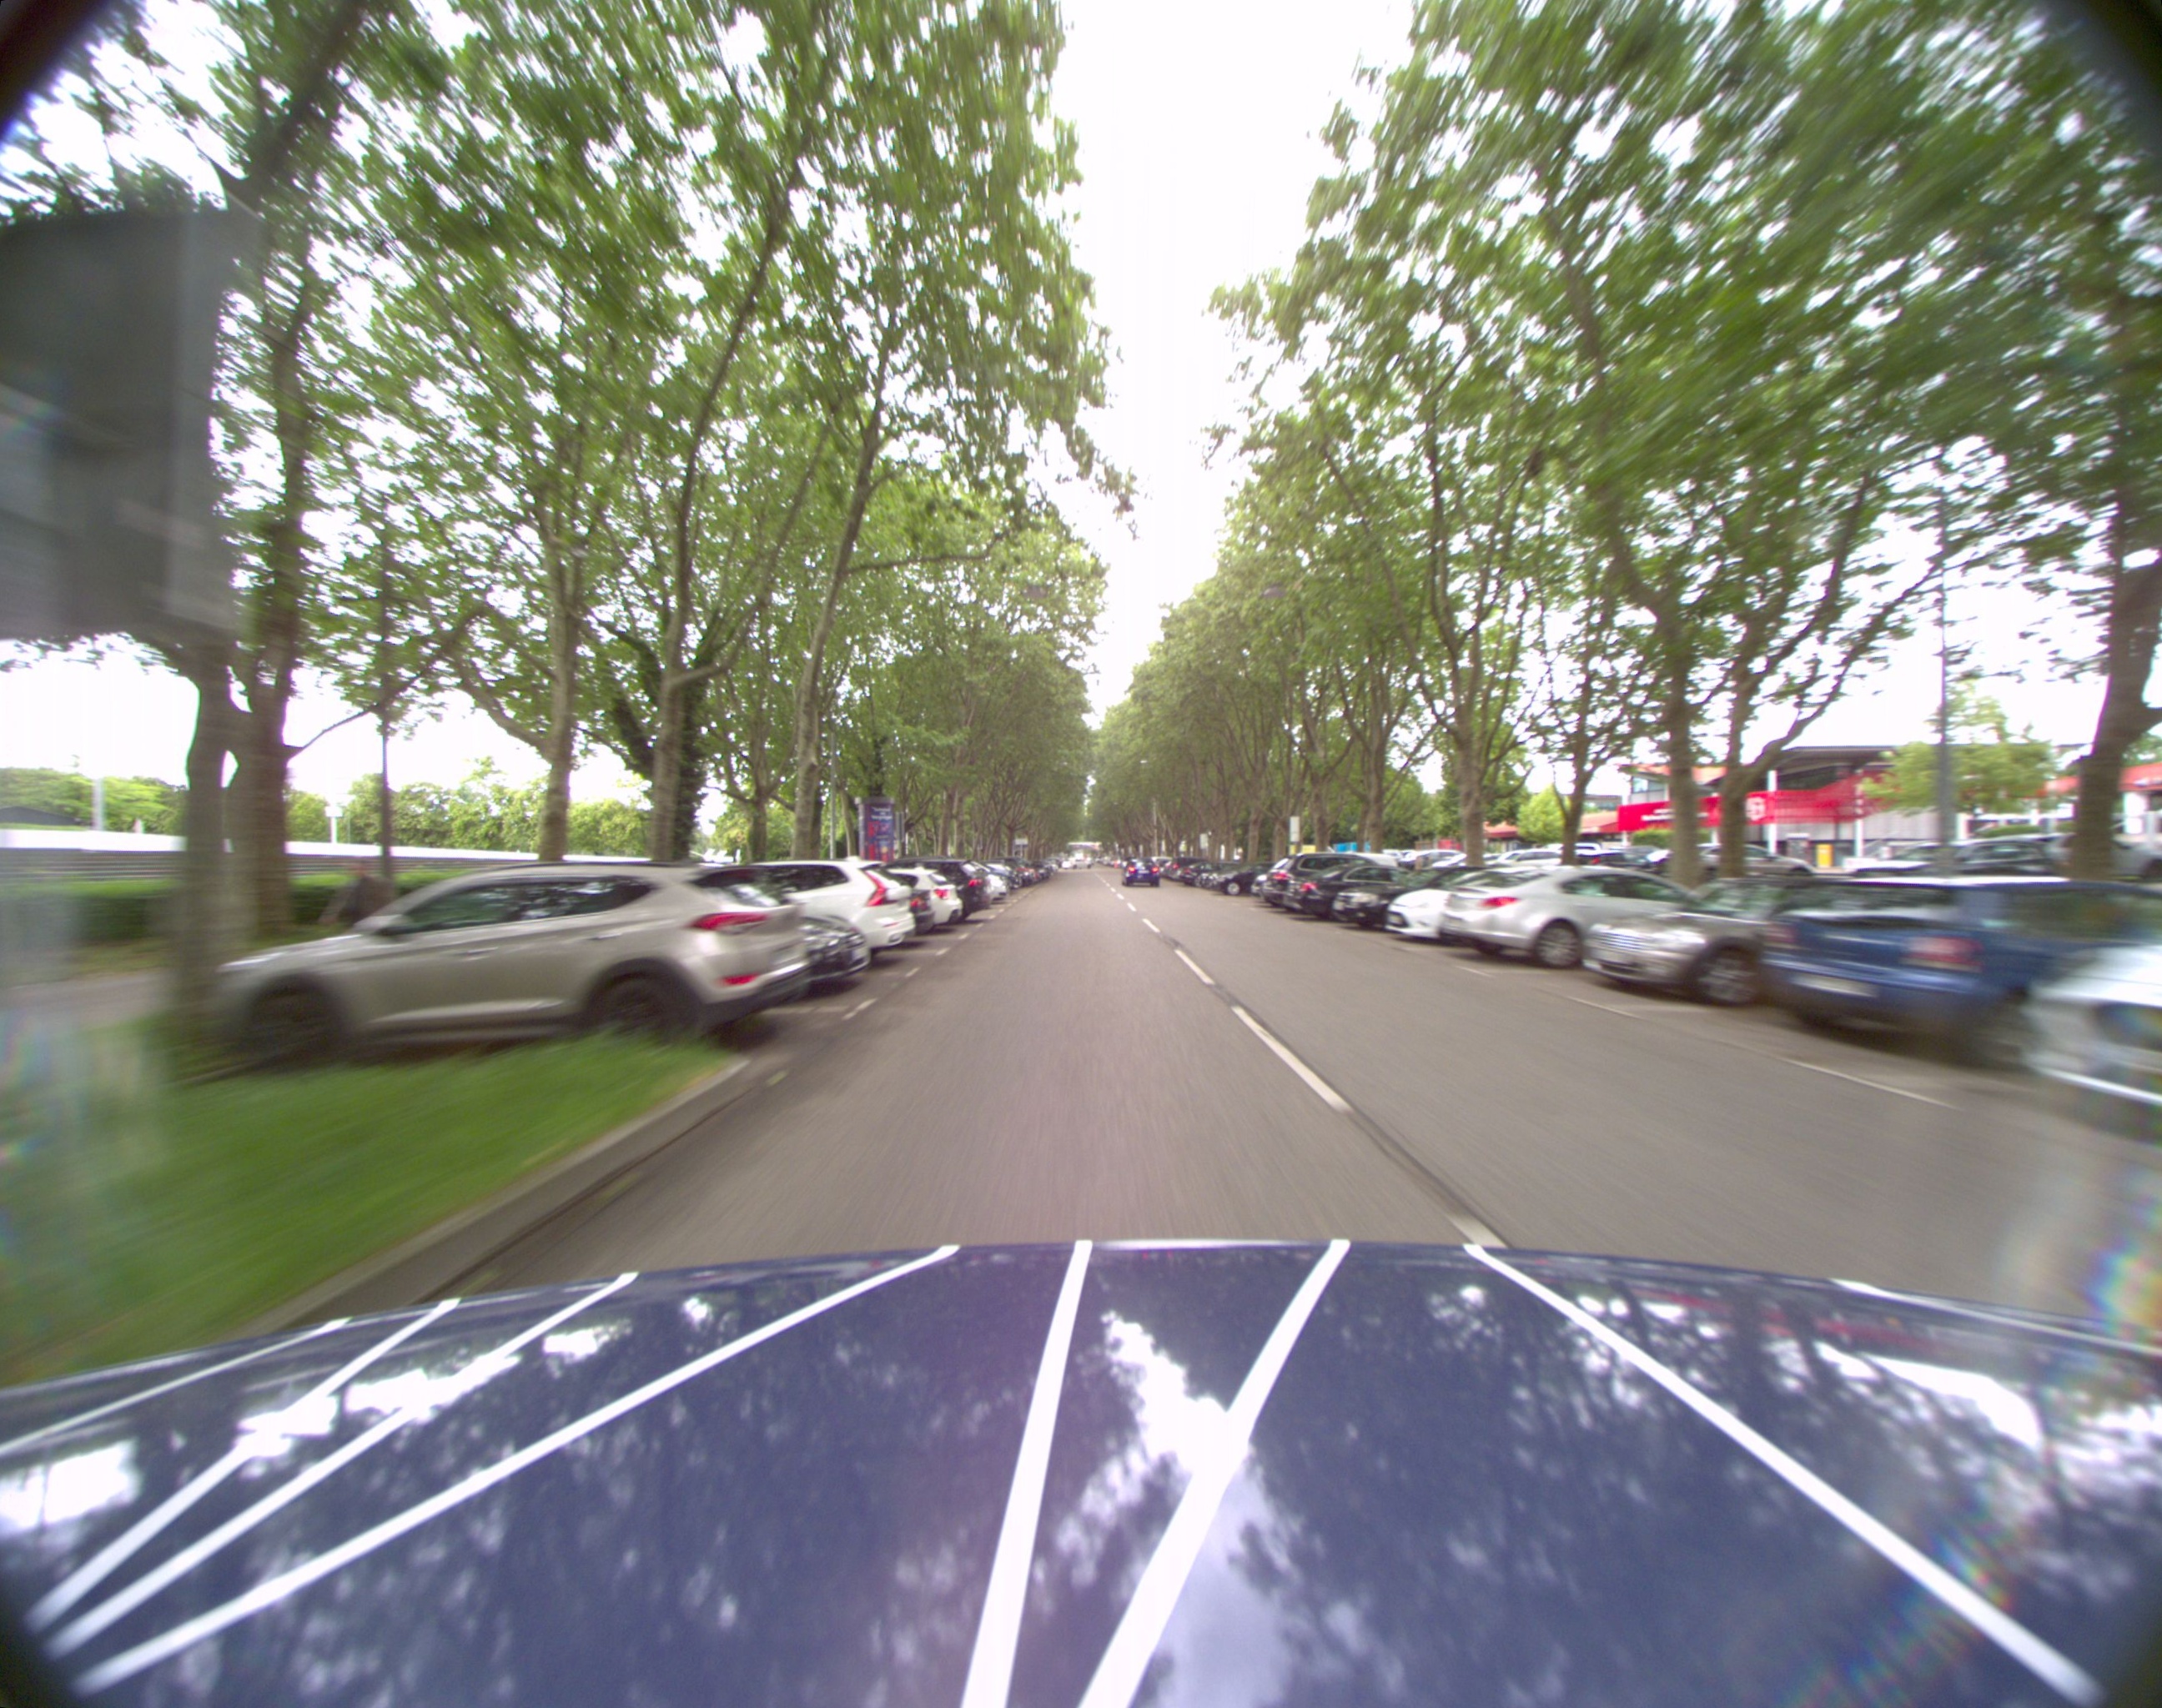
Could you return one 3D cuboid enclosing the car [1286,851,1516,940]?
[{"bbox_3d":[7.017,0.887,16.989,4.328,1.799,1.867,1,0,0],"label":"car"}]

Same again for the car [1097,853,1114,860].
[{"bbox_3d":[7.112,0.814,219.864,4.919,1.816,2.000,-1,-2,-3],"label":"car"}]

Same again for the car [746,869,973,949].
[{"bbox_3d":[-4.704,1.149,16.655,4.358,1.447,1.949,-2,0,-1],"label":"car"}]

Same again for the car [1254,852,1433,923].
[{"bbox_3d":[7.288,0.896,21.433,4.328,1.785,2.036,-1,1,0],"label":"car"}]

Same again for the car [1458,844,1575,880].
[{"bbox_3d":[22.947,0.427,40.161,4.955,1.786,2.183,-1,0,-2],"label":"car"}]

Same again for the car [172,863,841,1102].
[{"bbox_3d":[-4.622,0.980,6.663,4.357,1.624,1.926,-2,0,1],"label":"car"}]

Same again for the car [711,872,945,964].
[{"bbox_3d":[-4.610,1.151,14.261,3.740,1.394,1.776,-3,0,-1],"label":"car"}]

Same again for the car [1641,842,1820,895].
[{"bbox_3d":[23.426,0.484,27.565,4.563,1.715,2.296,-1,1,-1],"label":"car"}]

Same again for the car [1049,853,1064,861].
[{"bbox_3d":[-6.643,0.803,206.208,3.997,2.273,2.000,-1,1,0],"label":"car"}]

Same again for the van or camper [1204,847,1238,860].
[{"bbox_3d":[23.523,-0.125,127.877,5.299,2.087,2.244,-2,1,-2],"label":"van or camper"}]

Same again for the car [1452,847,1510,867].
[{"bbox_3d":[34.724,0.252,65.978,4.031,1.542,1.999,-2,1,-4],"label":"car"}]

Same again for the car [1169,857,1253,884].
[{"bbox_3d":[7.471,0.918,43.912,4.475,1.473,1.703,1,0,-1],"label":"car"}]

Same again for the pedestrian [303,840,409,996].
[{"bbox_3d":[-9.728,0.824,10.225,0.788,2.002,0.598,-2,1,-16],"label":"pedestrian"}]

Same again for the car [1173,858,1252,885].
[{"bbox_3d":[7.075,0.946,41.150,3.941,1.390,1.703,1,0,-1],"label":"car"}]

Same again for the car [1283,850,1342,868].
[{"bbox_3d":[23.525,0.496,77.370,5.362,1.587,2.094,-1,1,-1],"label":"car"}]

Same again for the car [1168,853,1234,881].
[{"bbox_3d":[7.744,0.829,49.170,3.941,1.698,1.752,1,0,-1],"label":"car"}]

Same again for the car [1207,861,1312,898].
[{"bbox_3d":[7.377,1.040,31.621,3.987,1.412,1.756,1,0,3],"label":"car"}]

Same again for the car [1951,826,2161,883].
[{"bbox_3d":[34.465,0.012,26.852,4.588,1.844,2.297,-1,1,5],"label":"car"}]

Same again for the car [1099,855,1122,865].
[{"bbox_3d":[5.842,1.114,151.507,4.492,1.740,2.001,-3,0,5],"label":"car"}]

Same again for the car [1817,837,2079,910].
[{"bbox_3d":[23.340,0.492,20.611,4.530,1.752,2.296,-1,1,-1],"label":"car"}]

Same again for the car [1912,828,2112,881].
[{"bbox_3d":[35.524,0.017,29.121,4.588,1.844,2.297,-1,1,5],"label":"car"}]

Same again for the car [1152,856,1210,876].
[{"bbox_3d":[7.381,0.909,56.272,4.004,1.412,1.703,1,0,-1],"label":"car"}]

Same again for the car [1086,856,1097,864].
[{"bbox_3d":[2.052,1.142,151.016,1.999,1.375,4.678,-3,0,-2],"label":"car"}]

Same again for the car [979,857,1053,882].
[{"bbox_3d":[-4.124,1.003,48.935,4.506,1.420,1.932,-2,0,1],"label":"car"}]

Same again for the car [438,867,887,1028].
[{"bbox_3d":[-4.837,1.044,9.284,4.357,1.595,1.926,-2,0,1],"label":"car"}]

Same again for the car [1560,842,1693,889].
[{"bbox_3d":[23.482,0.485,32.827,4.332,1.850,2.028,-1,1,-1],"label":"car"}]

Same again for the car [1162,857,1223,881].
[{"bbox_3d":[7.541,1.015,51.551,3.940,1.507,1.728,1,0,1],"label":"car"}]

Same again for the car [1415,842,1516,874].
[{"bbox_3d":[22.973,0.229,45.484,4.955,1.786,2.182,-2,1,-2],"label":"car"}]

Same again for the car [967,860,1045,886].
[{"bbox_3d":[-4.553,1.144,46.572,4.506,1.411,1.829,-2,0,2],"label":"car"}]

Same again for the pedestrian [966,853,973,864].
[{"bbox_3d":[-15.177,0.616,103.526,0.724,1.558,0.698,-1,1,6],"label":"pedestrian"}]

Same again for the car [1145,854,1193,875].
[{"bbox_3d":[7.681,0.918,66.602,3.997,1.672,1.855,-1,1,1],"label":"car"}]

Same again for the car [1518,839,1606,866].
[{"bbox_3d":[34.400,-0.103,54.414,4.955,1.786,2.182,-2,1,-2],"label":"car"}]

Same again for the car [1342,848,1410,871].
[{"bbox_3d":[23.150,0.412,59.776,4.565,1.710,1.999,1,0,-2],"label":"car"}]
